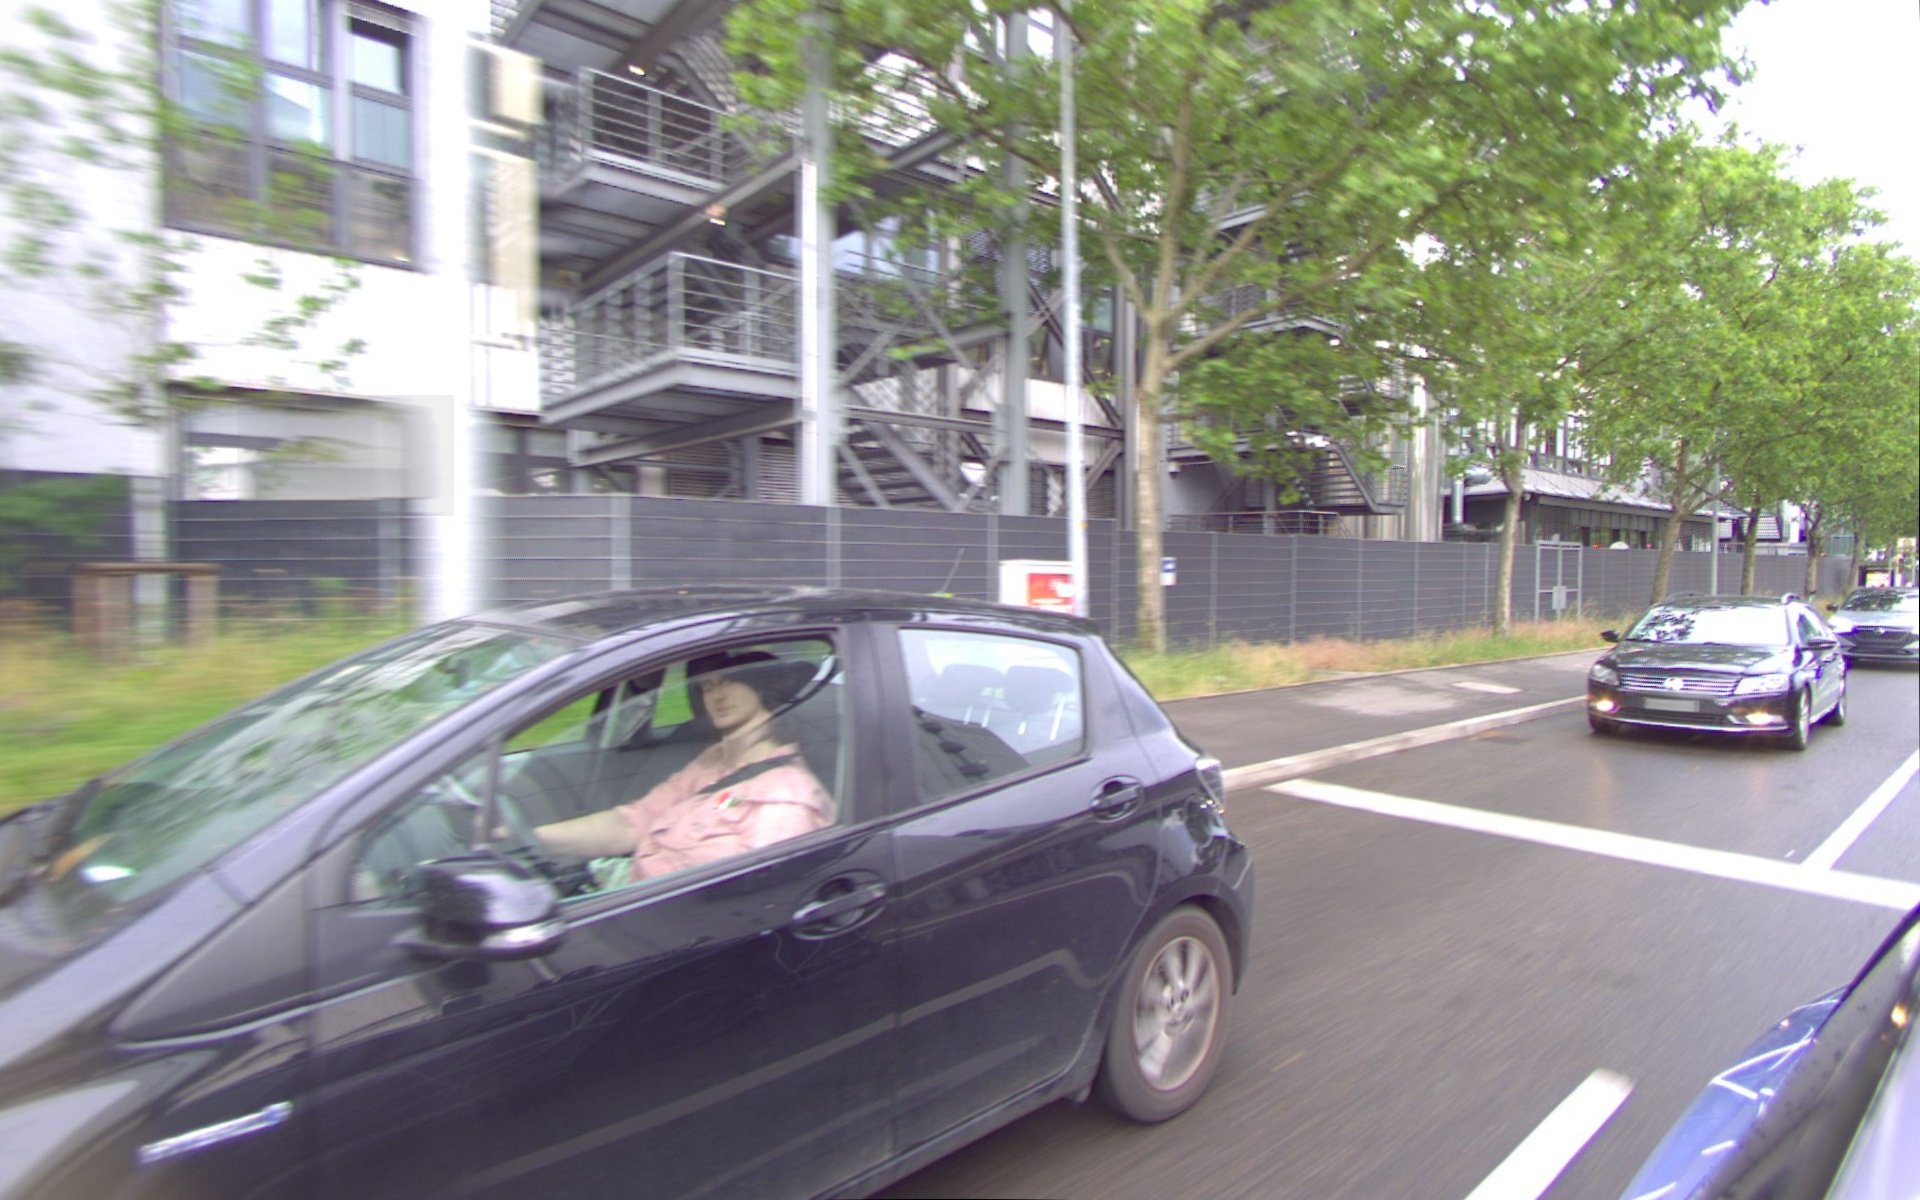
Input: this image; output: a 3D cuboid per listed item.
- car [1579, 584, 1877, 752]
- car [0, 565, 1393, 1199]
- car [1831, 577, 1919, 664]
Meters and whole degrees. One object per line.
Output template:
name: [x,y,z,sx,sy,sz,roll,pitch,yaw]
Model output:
car: [8.402,0.554,10.912,4.439,1.448,1.747,-1,1,-42]
car: [-0.769,0.674,2.653,4.561,1.488,1.747,-1,1,-42]
car: [19.208,0.353,20.505,4.258,1.610,1.824,-1,2,-42]
